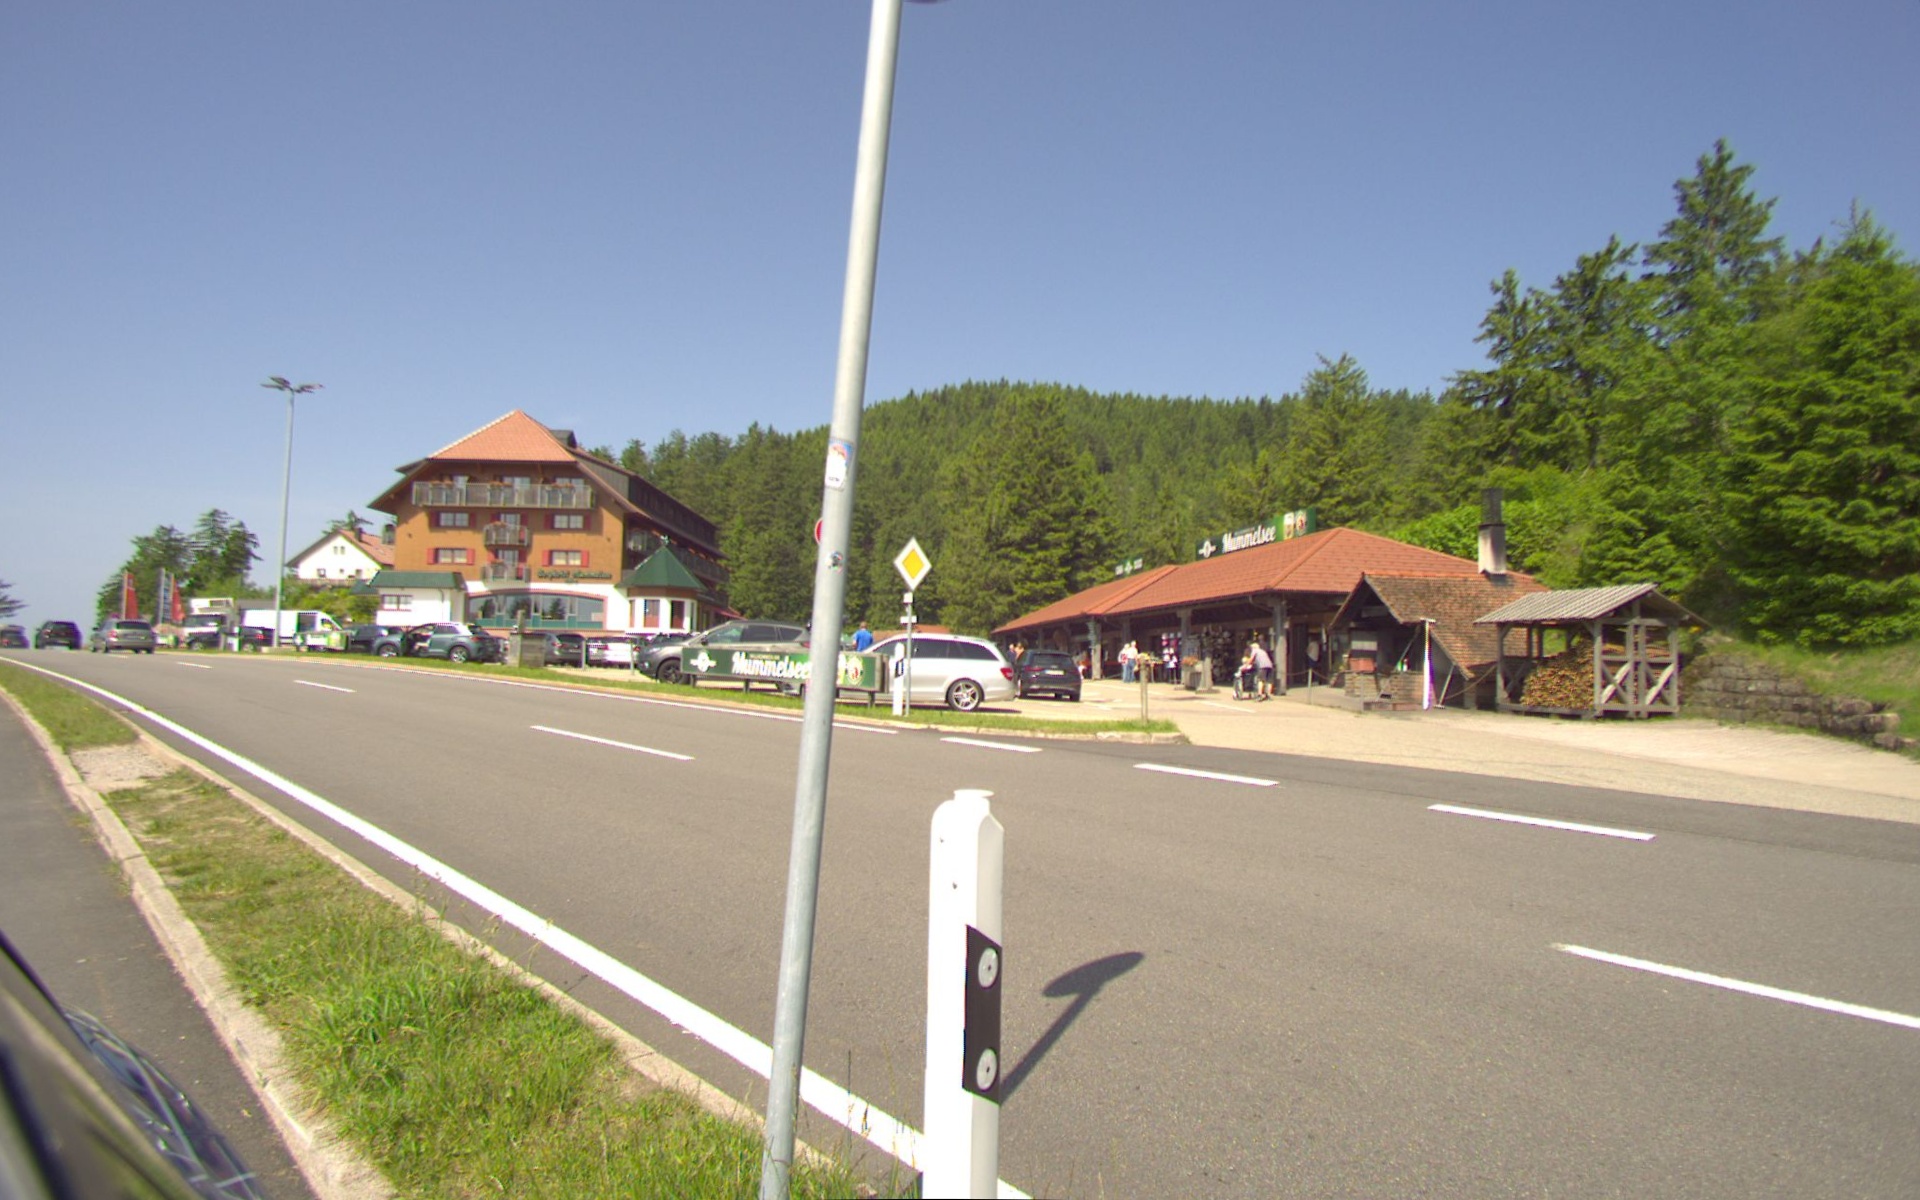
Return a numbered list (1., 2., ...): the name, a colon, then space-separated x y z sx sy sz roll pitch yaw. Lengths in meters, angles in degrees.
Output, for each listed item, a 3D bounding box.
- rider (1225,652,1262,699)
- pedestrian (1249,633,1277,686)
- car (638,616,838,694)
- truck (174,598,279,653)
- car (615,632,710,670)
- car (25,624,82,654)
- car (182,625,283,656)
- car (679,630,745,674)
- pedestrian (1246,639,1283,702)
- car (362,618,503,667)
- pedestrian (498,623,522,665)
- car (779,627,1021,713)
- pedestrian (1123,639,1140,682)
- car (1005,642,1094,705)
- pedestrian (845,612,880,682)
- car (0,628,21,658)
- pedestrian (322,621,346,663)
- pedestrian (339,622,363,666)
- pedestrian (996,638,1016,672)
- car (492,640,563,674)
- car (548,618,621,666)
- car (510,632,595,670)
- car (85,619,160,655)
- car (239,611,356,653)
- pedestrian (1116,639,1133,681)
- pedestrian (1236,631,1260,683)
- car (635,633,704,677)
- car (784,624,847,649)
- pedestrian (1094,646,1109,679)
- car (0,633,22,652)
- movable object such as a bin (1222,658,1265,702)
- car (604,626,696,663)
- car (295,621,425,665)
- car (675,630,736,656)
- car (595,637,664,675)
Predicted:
1. rider: 8.167 2.162 29.187 0.829 1.284 0.907 1 -2 5
2. pedestrian: 10.141 1.981 33.861 0.740 1.750 0.802 1 -2 5
3. car: -5.210 1.307 24.247 4.481 1.668 1.724 2 -3 -6
4. truck: -55.473 1.982 76.871 2.837 3.850 9.036 0 -2 -11
5. car: -14.047 2.404 47.959 4.032 1.641 1.826 2 -3 -5
6. car: -52.914 2.278 59.049 4.566 1.660 1.972 -1 -3 42
7. car: -39.455 2.218 54.955 4.029 1.539 1.827 2 -3 -9
8. car: -10.003 2.104 41.065 1.797 1.641 4.097 2 -3 -3
9. pedestrian: 8.497 1.958 28.285 0.829 1.712 0.802 1 -2 5
10. car: -19.475 1.593 37.523 4.206 1.641 1.826 2 -3 -5
11. pedestrian: -17.761 1.735 39.978 0.733 1.637 0.685 2 -3 -18
12. car: -1.173 1.337 19.563 4.433 1.441 1.724 2 -3 -6
13. pedestrian: 6.825 2.400 40.267 0.499 1.668 0.472 1 -2 -13
14. car: 2.516 2.078 29.407 1.971 1.541 4.002 3 -2 -3
15. pedestrian: -2.368 1.135 24.514 0.734 1.648 0.848 2 -2 -8
16. car: -90.641 4.037 95.981 5.919 2.772 1.988 -1 -3 45
17. pedestrian: -30.416 2.046 49.158 0.802 2.029 0.708 -1 -3 40
18. pedestrian: -28.477 2.057 47.305 0.802 2.029 0.708 -1 -3 40
19. pedestrian: 2.249 2.682 49.543 0.771 1.668 0.881 1 -2 -9
20. car: -20.937 2.736 49.173 1.797 1.524 4.097 2 -3 -3
21. car: -16.836 1.883 45.553 1.970 2.029 4.002 1 -2 -3
22. car: -16.703 2.074 41.408 4.002 1.441 1.697 -1 -4 45
23. car: -36.551 1.570 44.135 4.713 1.485 1.859 -1 -1 42
24. car: -48.219 2.352 73.922 6.846 2.812 2.675 3 -3 -29
25. pedestrian: 6.639 2.422 40.781 0.499 1.668 0.472 1 -2 -13
26. pedestrian: 9.908 1.955 34.848 0.555 1.750 0.663 -1 -3 40
27. car: -11.856 2.231 41.535 1.797 1.641 4.097 2 -3 -3
28. car: -11.427 2.897 80.065 4.773 1.729 1.922 2 -3 -4
29. pedestrian: 6.463 2.854 46.278 0.537 1.442 0.474 1 -2 -6
30. car: -76.304 3.397 80.734 4.448 1.449 1.688 -1 -3 42
31. movable object such as a bin: 8.205 2.304 29.333 0.971 1.198 1.215 1 -2 5
32. car: -15.344 2.218 50.241 4.032 1.641 1.826 2 -3 -5
33. car: -24.857 1.777 42.057 4.206 1.641 1.826 2 -3 -5
34. car: -18.655 3.171 74.447 4.033 1.729 1.922 2 -3 -4
35. car: -14.202 2.405 43.686 1.797 1.524 4.097 2 -3 -3
